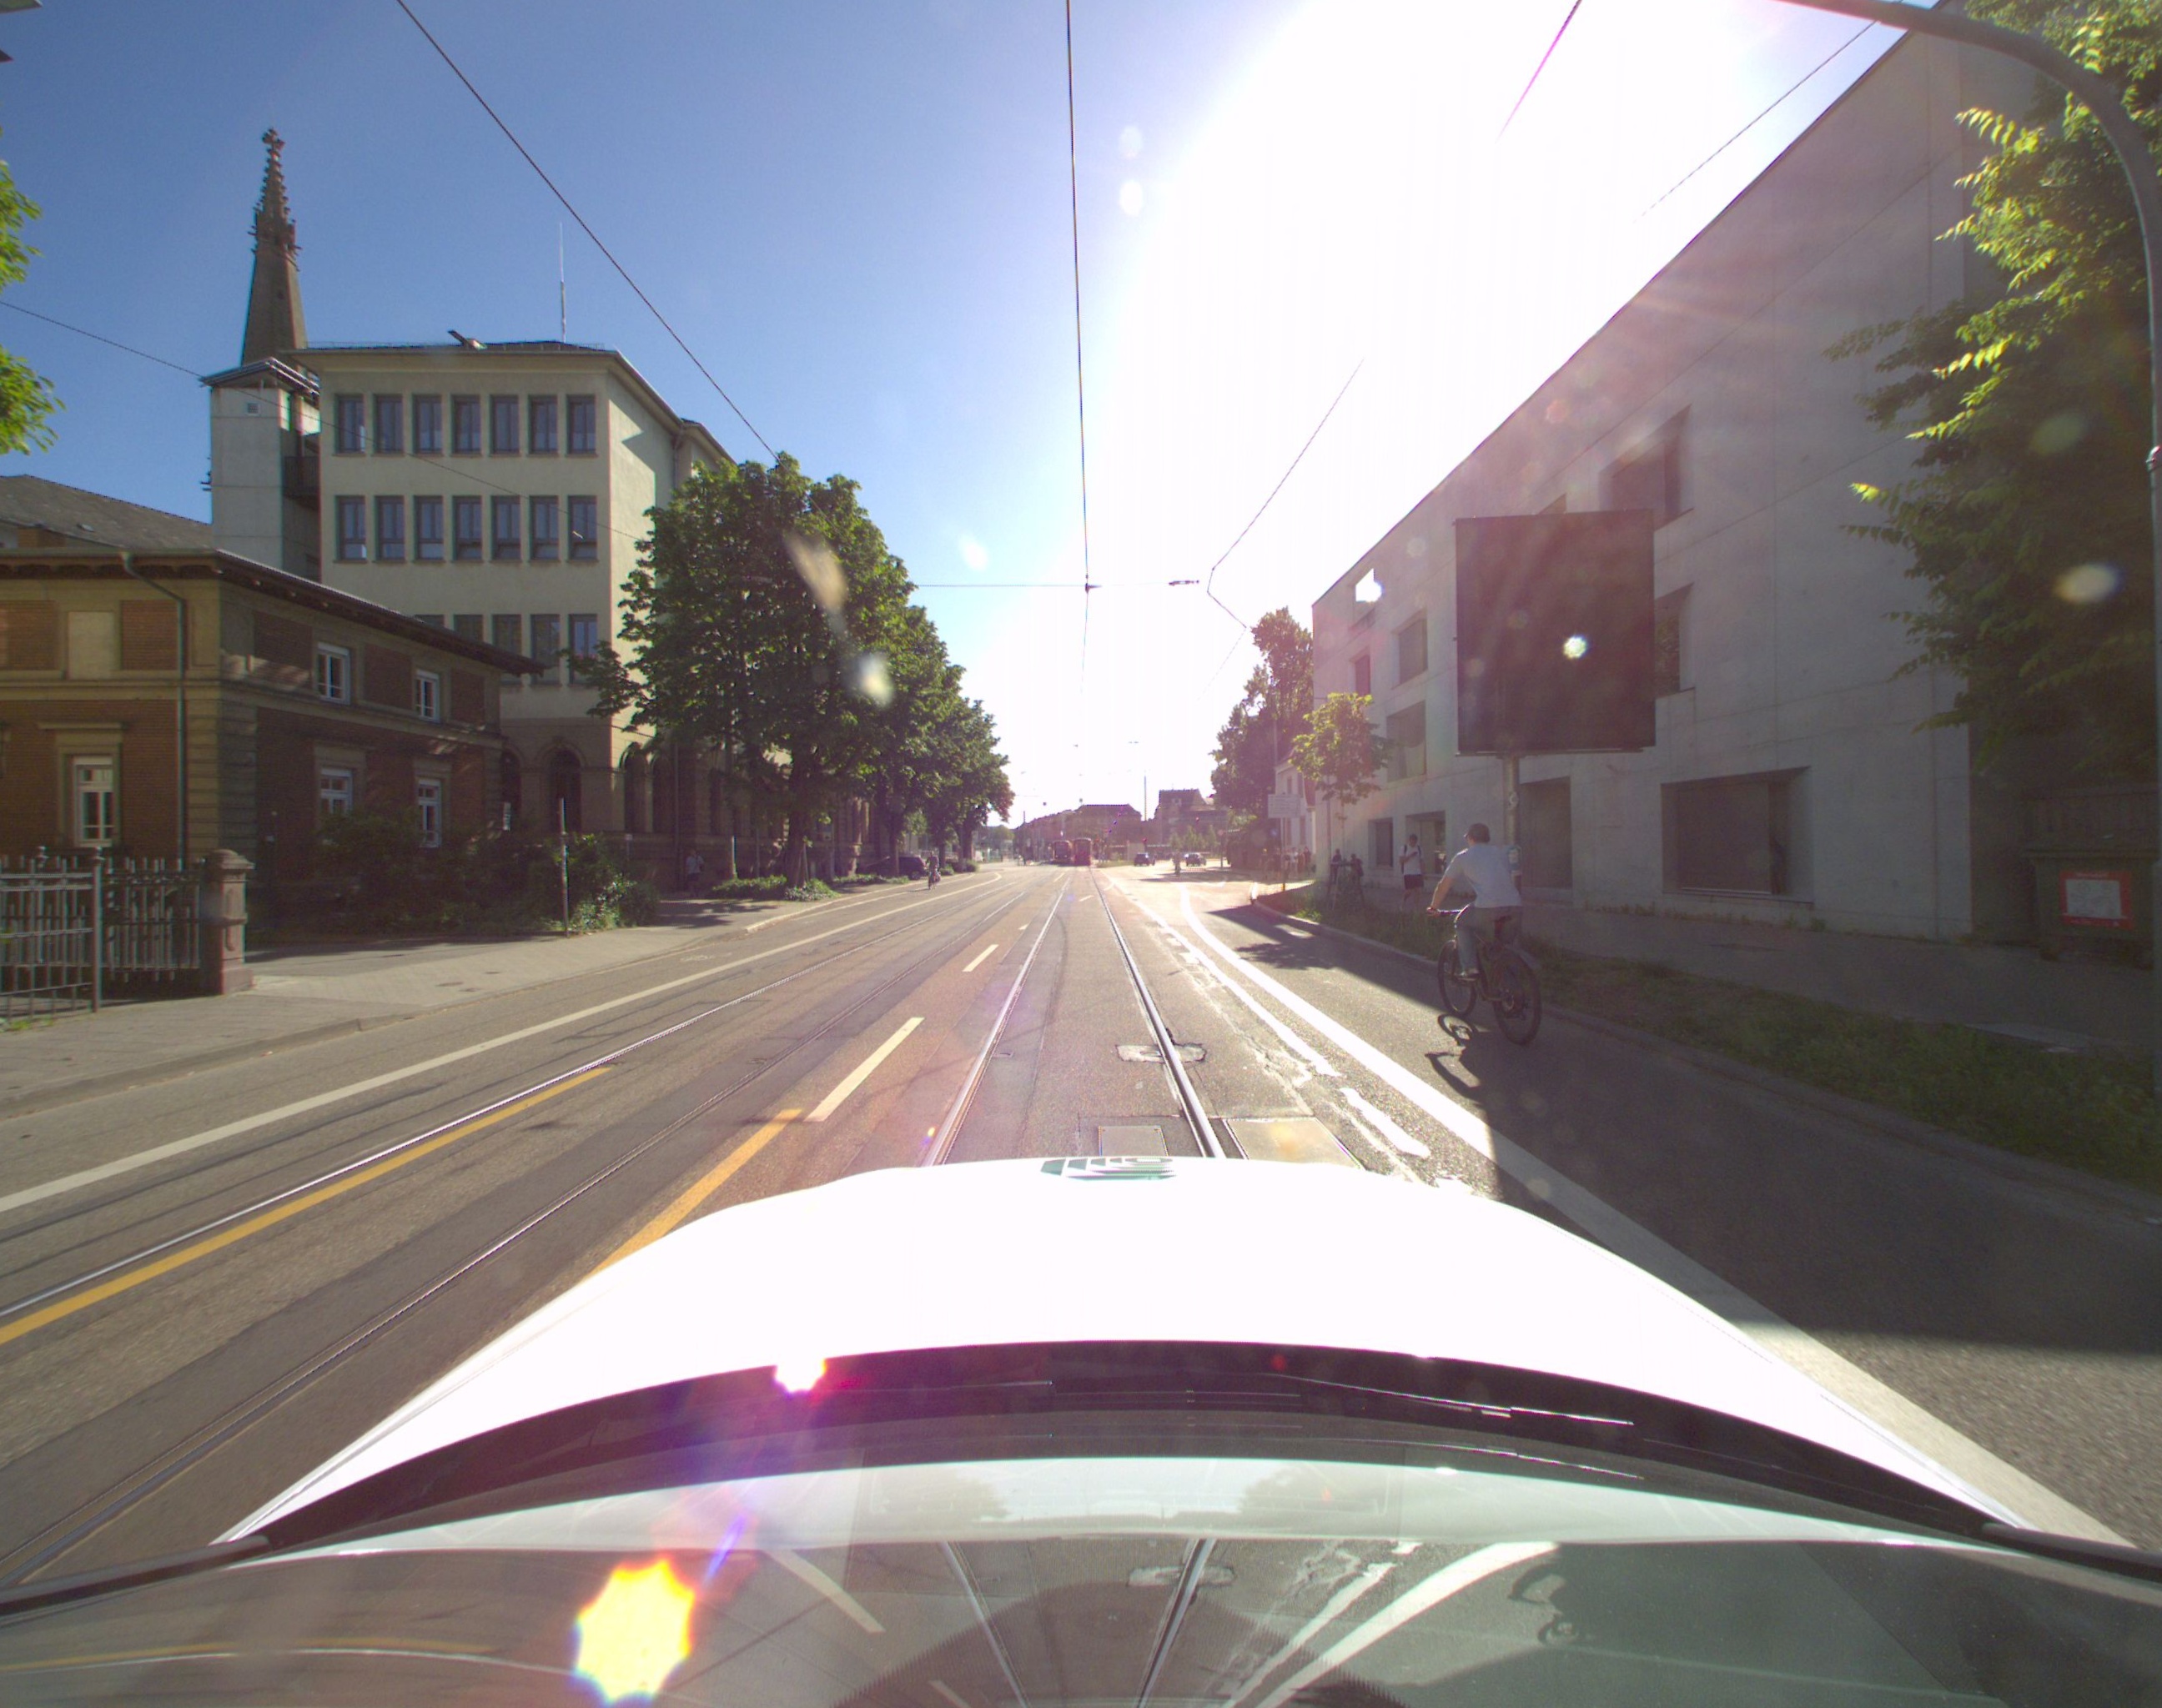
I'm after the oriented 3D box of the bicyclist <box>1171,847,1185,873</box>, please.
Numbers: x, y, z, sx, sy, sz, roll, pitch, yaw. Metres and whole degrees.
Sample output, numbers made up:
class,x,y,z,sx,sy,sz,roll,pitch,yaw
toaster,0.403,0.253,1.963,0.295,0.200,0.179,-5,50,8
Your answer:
class,x,y,z,sx,sy,sz,roll,pitch,yaw
bicyclist,6.496,0.386,54.577,0.699,1.675,1.107,1,0,20

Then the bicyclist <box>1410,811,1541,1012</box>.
class,x,y,z,sx,sy,sz,roll,pitch,yaw
bicyclist,3.528,0.484,7.367,0.735,1.686,0.972,0,0,2

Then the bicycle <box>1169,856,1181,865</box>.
class,x,y,z,sx,sy,sz,roll,pitch,yaw
bicycle,11.550,0.829,99.770,0.698,1.055,2.327,1,1,25

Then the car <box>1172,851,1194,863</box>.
class,x,y,z,sx,sy,sz,roll,pitch,yaw
car,14.925,0.465,119.190,1.685,1.643,3.736,0,0,35

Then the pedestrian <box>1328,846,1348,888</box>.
class,x,y,z,sx,sy,sz,roll,pitch,yaw
pedestrian,9.843,0.493,31.182,0.515,1.600,0.765,-1,0,3

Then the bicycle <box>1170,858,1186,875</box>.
class,x,y,z,sx,sy,sz,roll,pitch,yaw
bicycle,6.494,0.832,54.581,0.699,1.104,1.726,1,1,20

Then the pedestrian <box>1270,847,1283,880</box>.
class,x,y,z,sx,sy,sz,roll,pitch,yaw
pedestrian,10.382,0.501,43.302,0.492,1.728,0.819,-5,-1,11

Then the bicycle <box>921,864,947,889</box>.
class,x,y,z,sx,sy,sz,roll,pitch,yaw
bicycle,-6.909,1.052,38.444,0.683,1.124,1.934,-3,0,4

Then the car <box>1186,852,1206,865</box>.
class,x,y,z,sx,sy,sz,roll,pitch,yaw
car,13.846,0.483,97.992,1.774,1.511,3.730,0,0,19

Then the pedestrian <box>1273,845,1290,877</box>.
class,x,y,z,sx,sy,sz,roll,pitch,yaw
pedestrian,11.495,0.394,46.717,0.523,1.774,0.740,-6,-1,41

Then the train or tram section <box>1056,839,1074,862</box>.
class,x,y,z,sx,sy,sz,roll,pitch,yaw
train or tram section,-2.598,-0.671,136.460,2.734,3.651,12.540,-1,0,-1

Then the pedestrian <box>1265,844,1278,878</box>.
class,x,y,z,sx,sy,sz,roll,pitch,yaw
pedestrian,10.996,0.389,47.019,0.515,1.902,0.613,-5,0,8

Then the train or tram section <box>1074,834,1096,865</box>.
class,x,y,z,sx,sy,sz,roll,pitch,yaw
train or tram section,0.426,-0.622,106.210,2.734,3.651,13.781,-1,0,-1

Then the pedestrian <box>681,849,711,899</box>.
class,x,y,z,sx,sy,sz,roll,pitch,yaw
pedestrian,-14.275,0.738,30.219,0.728,1.797,0.779,2,0,-4

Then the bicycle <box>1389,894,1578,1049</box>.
class,x,y,z,sx,sy,sz,roll,pitch,yaw
bicycle,3.525,0.964,7.378,0.735,1.094,2.112,0,0,2

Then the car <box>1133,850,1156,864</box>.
class,x,y,z,sx,sy,sz,roll,pitch,yaw
car,7.577,0.376,96.745,1.774,1.604,3.730,0,0,19

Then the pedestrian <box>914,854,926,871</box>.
class,x,y,z,sx,sy,sz,roll,pitch,yaw
pedestrian,-14.599,0.769,73.675,0.924,1.504,0.700,-1,0,-22

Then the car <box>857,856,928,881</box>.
class,x,y,z,sx,sy,sz,roll,pitch,yaw
car,-11.875,0.895,51.334,4.009,1.550,1.861,0,0,-28

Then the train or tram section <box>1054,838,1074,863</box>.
class,x,y,z,sx,sy,sz,roll,pitch,yaw
train or tram section,-2.476,-0.553,123.353,2.734,3.651,13.781,-1,0,-1

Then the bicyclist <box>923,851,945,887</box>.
class,x,y,z,sx,sy,sz,roll,pitch,yaw
bicyclist,-6.933,0.675,38.418,0.683,1.644,1.239,-3,0,4

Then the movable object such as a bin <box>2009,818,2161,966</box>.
class,x,y,z,sx,sy,sz,roll,pitch,yaw
movable object such as a bin,11.170,0.366,8.716,0.930,1.463,1.356,-1,0,2

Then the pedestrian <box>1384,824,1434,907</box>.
class,x,y,z,sx,sy,sz,roll,pitch,yaw
pedestrian,7.595,0.254,18.888,0.682,1.849,0.955,-2,0,-1

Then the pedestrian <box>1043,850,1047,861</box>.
class,x,y,z,sx,sy,sz,roll,pitch,yaw
pedestrian,-5.922,0.309,135.723,0.624,1.827,0.662,-1,0,-1

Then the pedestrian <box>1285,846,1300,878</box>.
class,x,y,z,sx,sy,sz,roll,pitch,yaw
pedestrian,11.966,0.440,46.044,0.605,1.774,0.656,-6,-1,16

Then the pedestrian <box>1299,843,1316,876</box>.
class,x,y,z,sx,sy,sz,roll,pitch,yaw
pedestrian,12.490,0.301,44.951,0.653,1.802,0.733,-5,0,8

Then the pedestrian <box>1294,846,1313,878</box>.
class,x,y,z,sx,sy,sz,roll,pitch,yaw
pedestrian,11.866,0.428,43.452,0.823,1.604,0.897,-6,-1,15

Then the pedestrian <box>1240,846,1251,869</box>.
class,x,y,z,sx,sy,sz,roll,pitch,yaw
pedestrian,13.546,0.278,67.177,0.635,1.903,1.135,-3,0,1

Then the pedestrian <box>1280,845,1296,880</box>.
class,x,y,z,sx,sy,sz,roll,pitch,yaw
pedestrian,11.047,0.438,43.400,0.642,1.763,0.960,-6,-1,15

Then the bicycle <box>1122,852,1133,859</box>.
class,x,y,z,sx,sy,sz,roll,pitch,yaw
bicycle,7.963,0.298,139.753,1.929,1.103,0.598,-1,0,-3

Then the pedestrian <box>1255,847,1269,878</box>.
class,x,y,z,sx,sy,sz,roll,pitch,yaw
pedestrian,10.479,0.478,47.065,0.603,1.746,0.719,-5,0,8

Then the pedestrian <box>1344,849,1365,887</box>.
class,x,y,z,sx,sy,sz,roll,pitch,yaw
pedestrian,10.427,0.527,31.061,0.515,1.404,0.765,-1,0,3

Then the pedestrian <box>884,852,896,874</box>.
class,x,y,z,sx,sy,sz,roll,pitch,yaw
pedestrian,-14.659,0.681,62.570,0.698,1.635,0.759,1,0,0
